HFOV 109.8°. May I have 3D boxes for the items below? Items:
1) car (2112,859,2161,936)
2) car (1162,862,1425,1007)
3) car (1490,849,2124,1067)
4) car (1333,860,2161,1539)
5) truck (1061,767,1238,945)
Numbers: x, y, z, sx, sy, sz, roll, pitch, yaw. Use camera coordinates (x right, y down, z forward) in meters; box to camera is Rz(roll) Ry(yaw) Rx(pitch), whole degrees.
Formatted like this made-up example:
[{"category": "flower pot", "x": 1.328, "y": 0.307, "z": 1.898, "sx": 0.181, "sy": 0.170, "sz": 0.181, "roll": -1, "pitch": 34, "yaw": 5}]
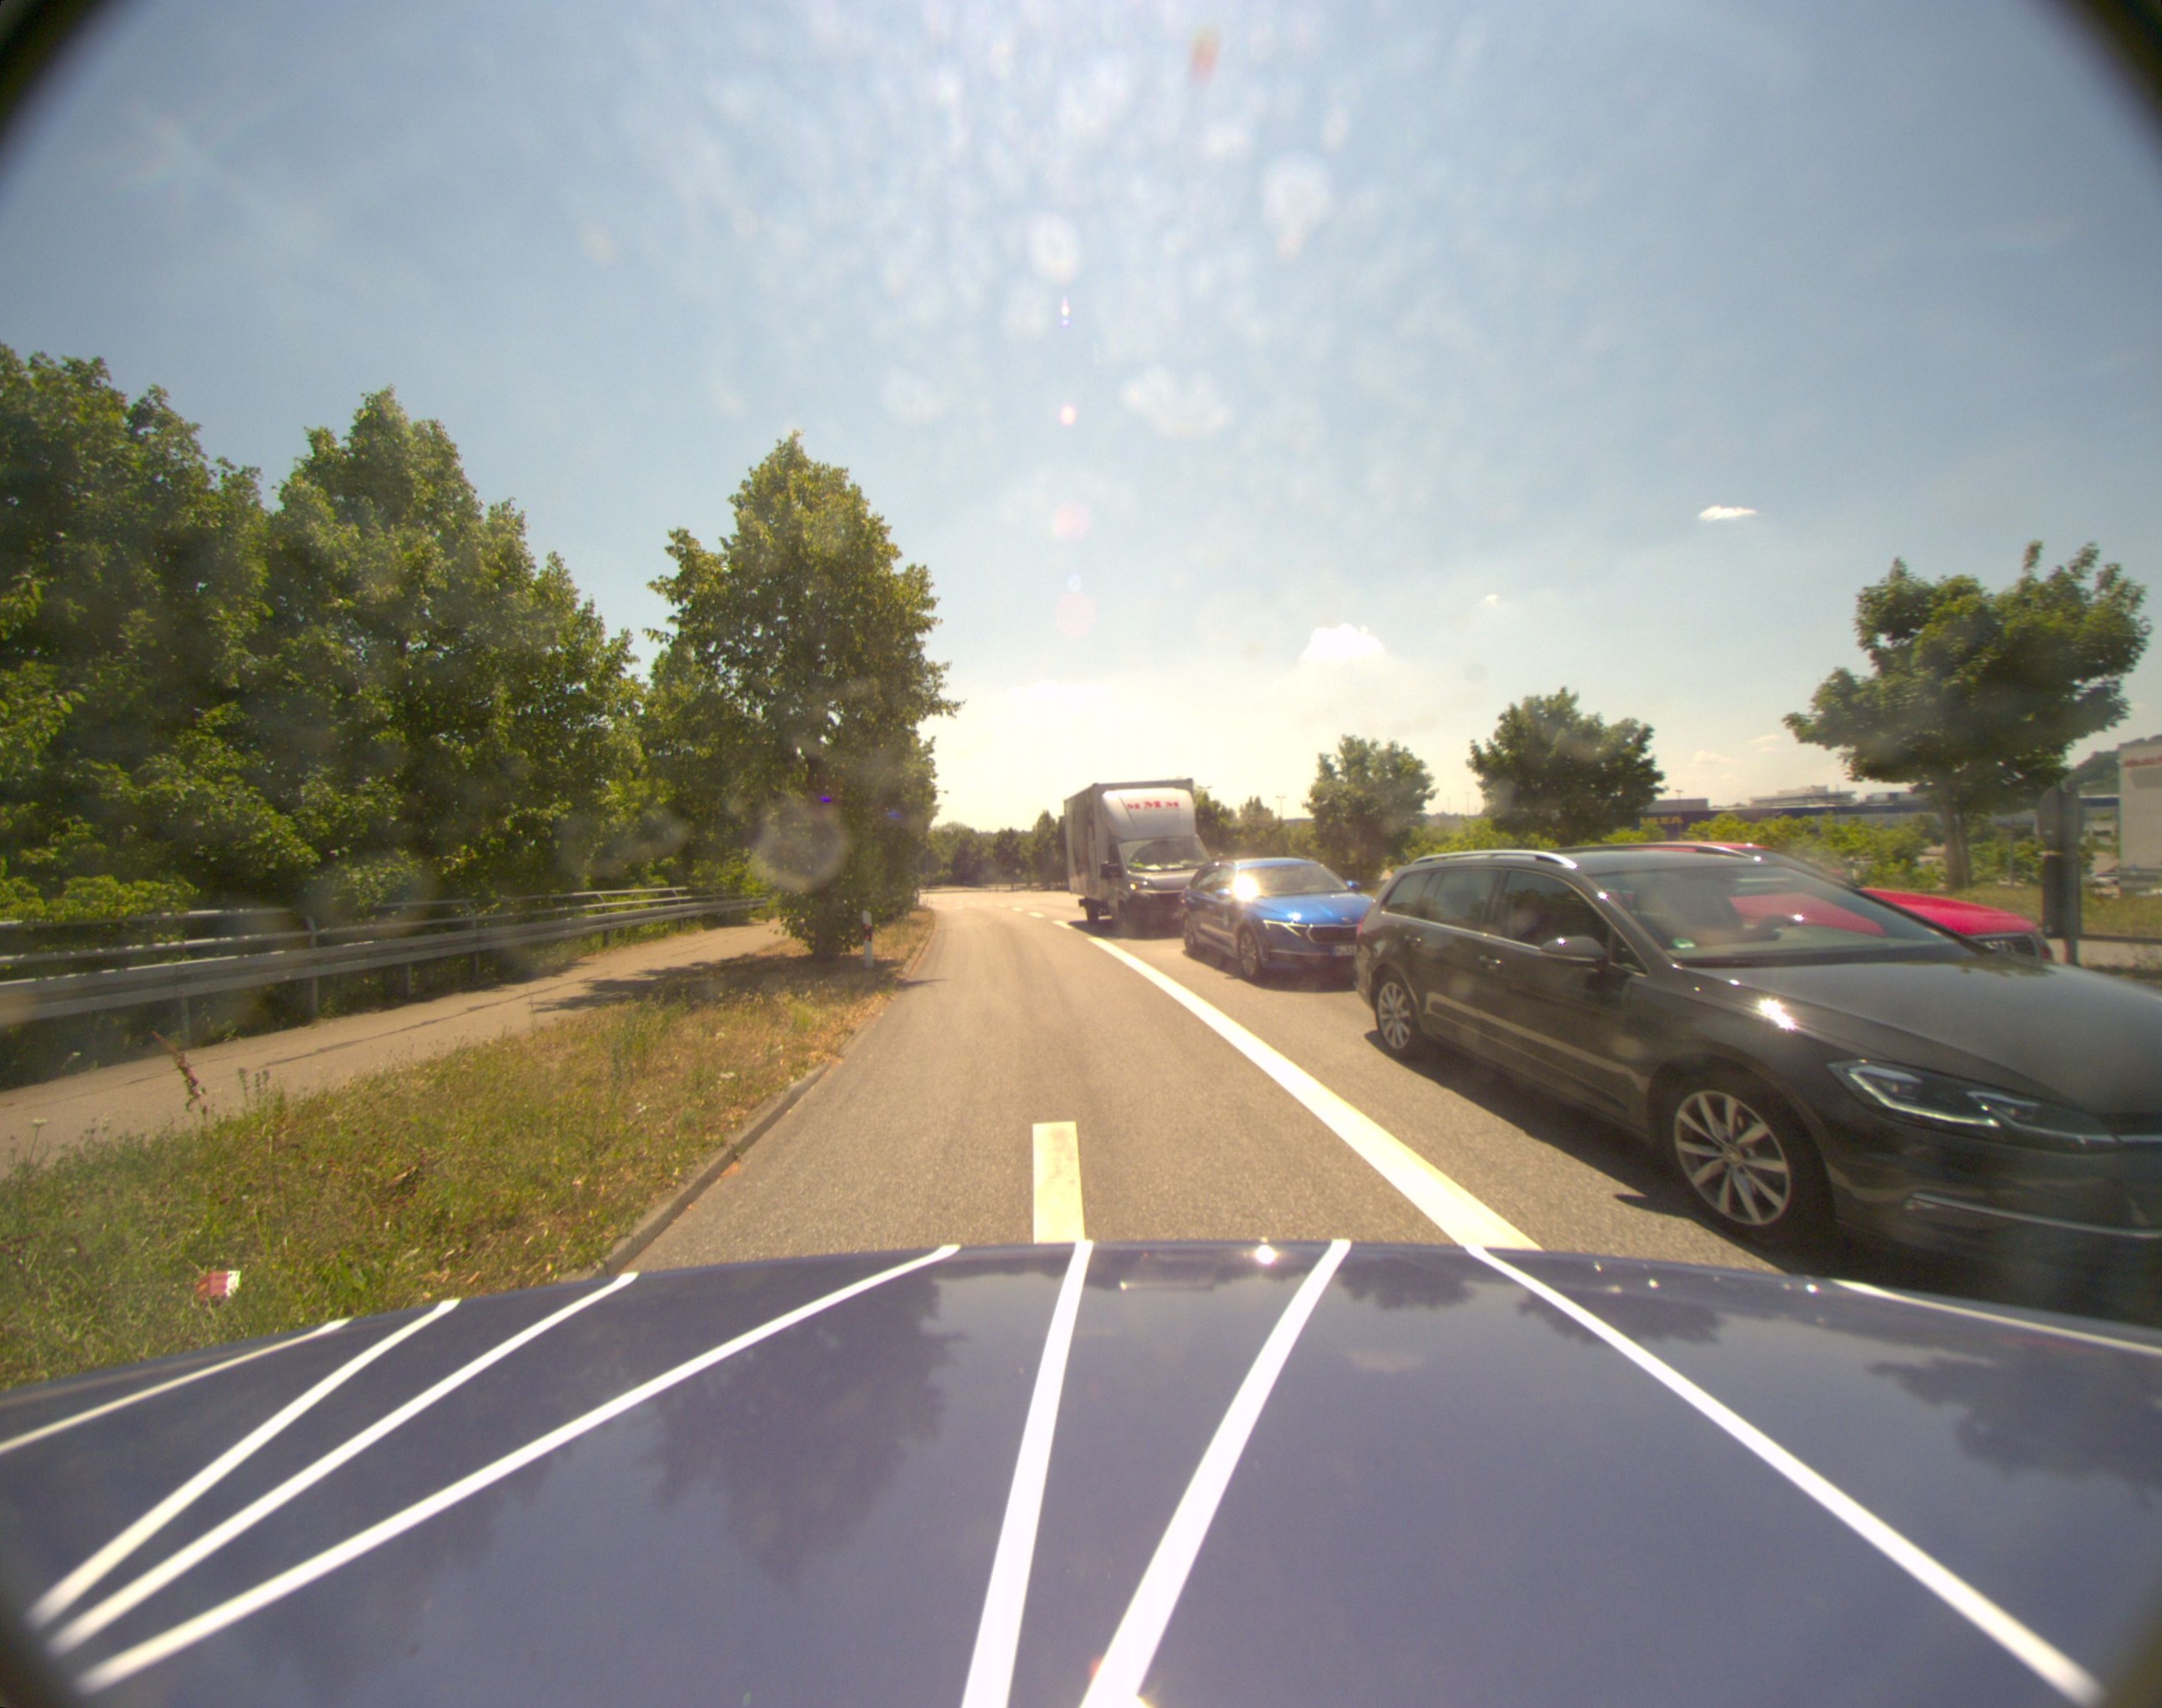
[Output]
[{"category": "car", "x": 29.803, "y": 1.114, "z": 19.429, "sx": 2.004, "sy": 1.949, "sz": 3.989, "roll": -2, "pitch": 1, "yaw": -39}, {"category": "car", "x": 2.541, "y": 0.888, "z": 10.365, "sx": 1.713, "sy": 1.454, "sz": 4.486, "roll": -3, "pitch": -1, "yaw": -8}, {"category": "car", "x": 6.160, "y": 0.683, "z": 7.379, "sx": 1.665, "sy": 1.380, "sz": 4.447, "roll": -3, "pitch": 1, "yaw": -4}, {"category": "car", "x": 3.104, "y": 0.823, "z": 4.030, "sx": 1.783, "sy": 1.474, "sz": 4.427, "roll": -2, "pitch": 0, "yaw": -4}, {"category": "truck", "x": 1.241, "y": 0.106, "z": 18.178, "sx": 2.415, "sy": 3.327, "sz": 7.198, "roll": -2, "pitch": -1, "yaw": -9}]
